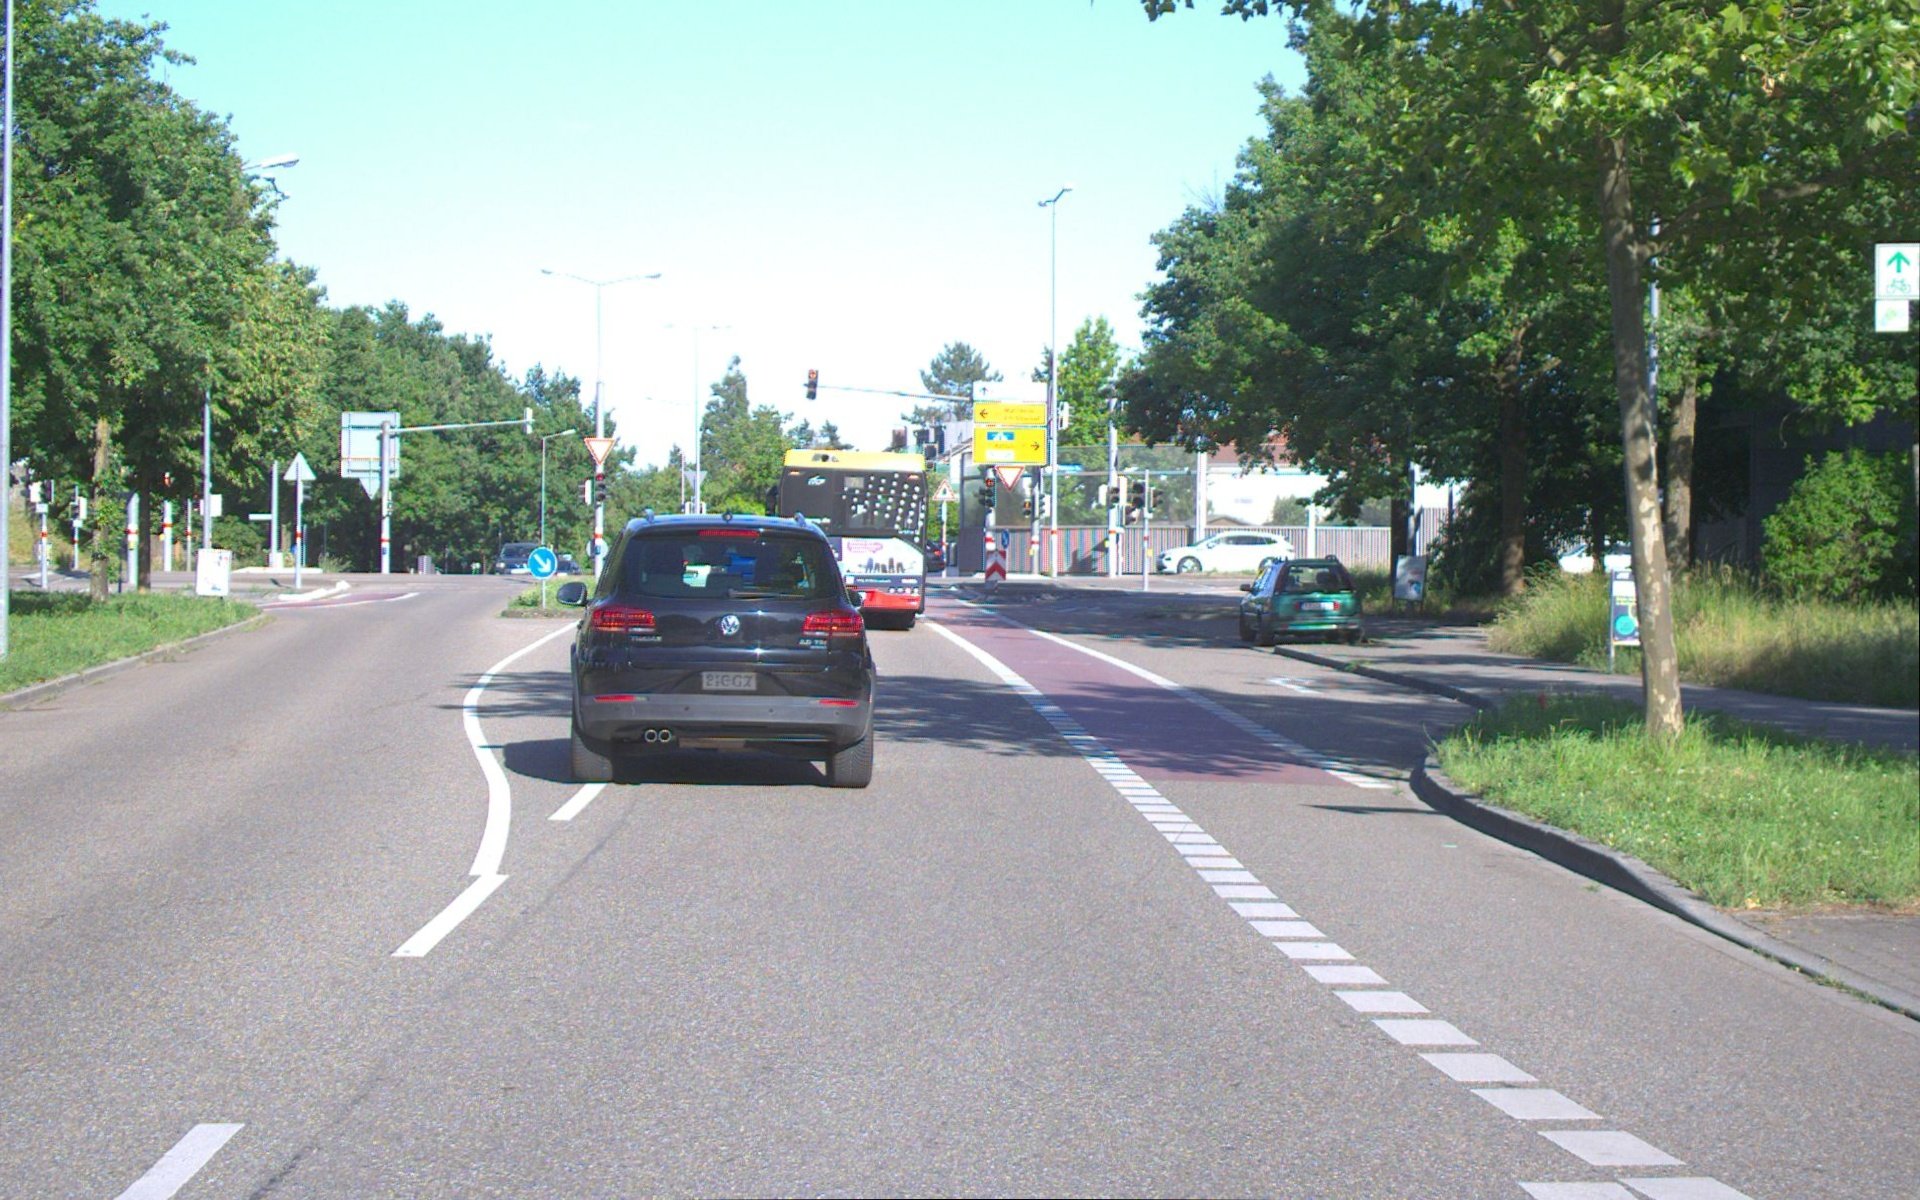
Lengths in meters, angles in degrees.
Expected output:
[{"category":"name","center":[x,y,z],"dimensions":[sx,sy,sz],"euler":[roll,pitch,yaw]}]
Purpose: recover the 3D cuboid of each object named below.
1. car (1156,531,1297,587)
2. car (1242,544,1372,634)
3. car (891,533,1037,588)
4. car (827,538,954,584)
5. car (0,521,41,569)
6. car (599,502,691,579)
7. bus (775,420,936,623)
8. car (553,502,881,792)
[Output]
[{"category":"car","center":[8.856,-1.369,114.435],"dimensions":[4.382,1.677,1.712],"euler":[2,0,-7]},{"category":"car","center":[5.710,-0.201,56.939],"dimensions":[1.592,1.424,4.204],"euler":[0,1,-2]},{"category":"car","center":[0.113,-1.015,87.553],"dimensions":[3.523,1.297,1.574],"euler":[2,1,6]},{"category":"car","center":[-2.303,-1.284,113.063],"dimensions":[3.890,1.335,1.683],"euler":[2,0,-11]},{"category":"car","center":[-29.686,-1.708,103.337],"dimensions":[3.845,1.380,1.683],"euler":[2,0,-11]},{"category":"car","center":[-6.914,-1.277,75.192],"dimensions":[1.753,1.615,4.034],"euler":[1,0,-8]},{"category":"bus","center":[-2.034,-1.450,63.878],"dimensions":[2.596,3.323,11.985],"euler":[2,1,-3]},{"category":"car","center":[-1.459,0.261,21.970],"dimensions":[1.821,1.668,4.003],"euler":[1,0,0]}]
